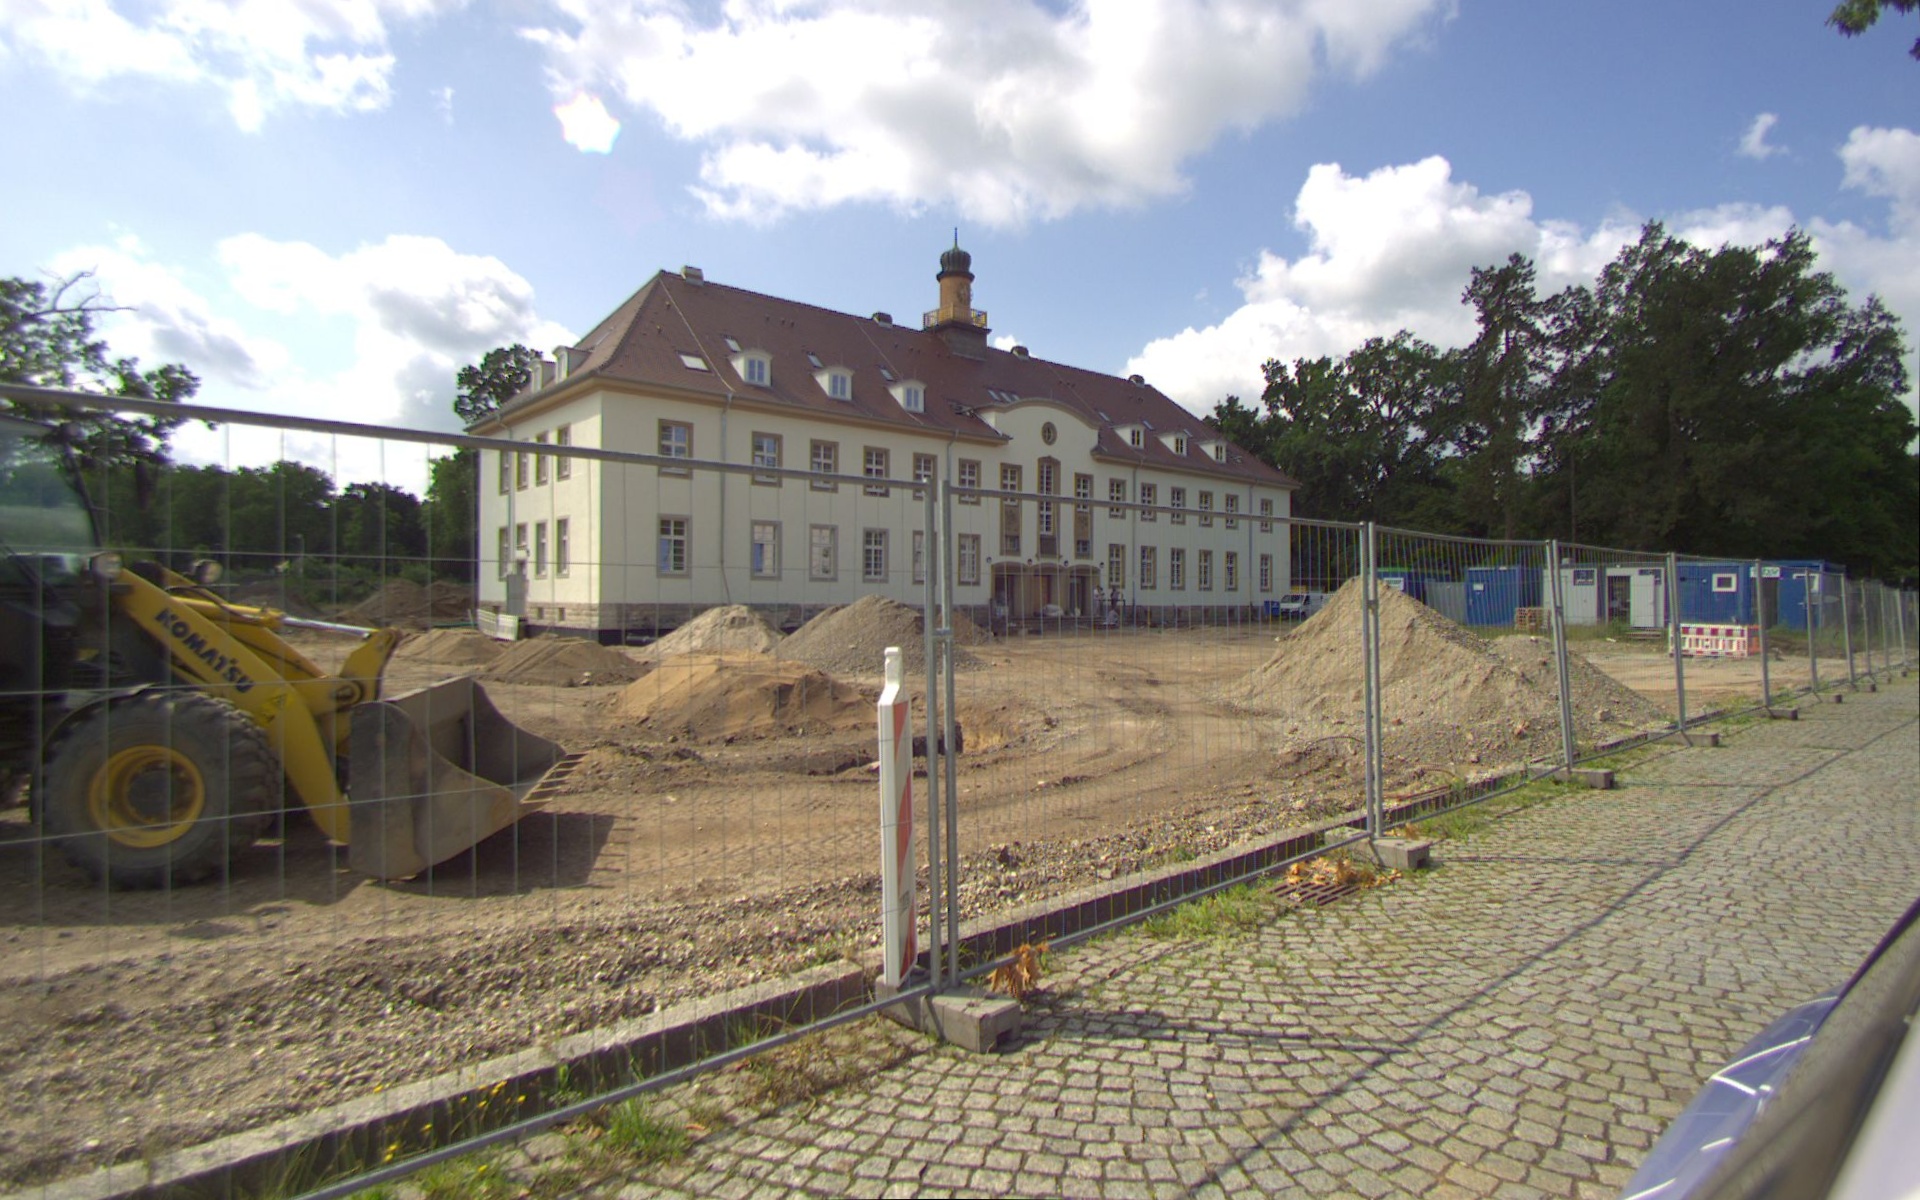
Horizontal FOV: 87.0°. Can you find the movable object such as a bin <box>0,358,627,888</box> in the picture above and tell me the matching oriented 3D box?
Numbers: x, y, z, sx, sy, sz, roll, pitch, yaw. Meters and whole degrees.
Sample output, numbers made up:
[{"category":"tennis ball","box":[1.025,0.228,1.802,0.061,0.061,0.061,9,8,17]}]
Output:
[{"category":"movable object such as a bin","box":[-4.983,0.096,5.900,5.537,2.553,2.154,1,0,-12]}]

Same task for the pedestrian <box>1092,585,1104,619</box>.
[{"category":"pedestrian","box":[7.514,0.114,55.156,0.496,1.810,0.492,0,-1,-18]}]

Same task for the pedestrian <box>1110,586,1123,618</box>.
[{"category":"pedestrian","box":[8.652,0.114,56.028,0.498,1.810,0.490,1,-1,-44]}]

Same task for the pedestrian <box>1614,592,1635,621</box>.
[{"category":"pedestrian","box":[28.386,0.280,43.215,0.671,1.259,0.602,1,-1,-42]}]

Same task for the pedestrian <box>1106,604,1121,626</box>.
[{"category":"pedestrian","box":[8.161,0.805,53.890,0.697,1.128,0.490,1,-1,-43]}]

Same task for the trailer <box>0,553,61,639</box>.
[{"category":"trailer","box":[-29.282,-0.135,30.194,1.920,2.504,4.855,0,0,-19]}]

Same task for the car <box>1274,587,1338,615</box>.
[{"category":"car","box":[22.856,0.048,66.743,4.624,1.750,1.883,0,0,-40]}]

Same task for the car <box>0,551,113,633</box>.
[{"category":"car","box":[-31.365,-0.279,35.191,2.203,2.624,5.441,0,0,-33]}]

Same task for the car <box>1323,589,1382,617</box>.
[{"category":"car","box":[24.978,0.172,64.389,3.968,1.705,1.801,0,0,-40]}]
